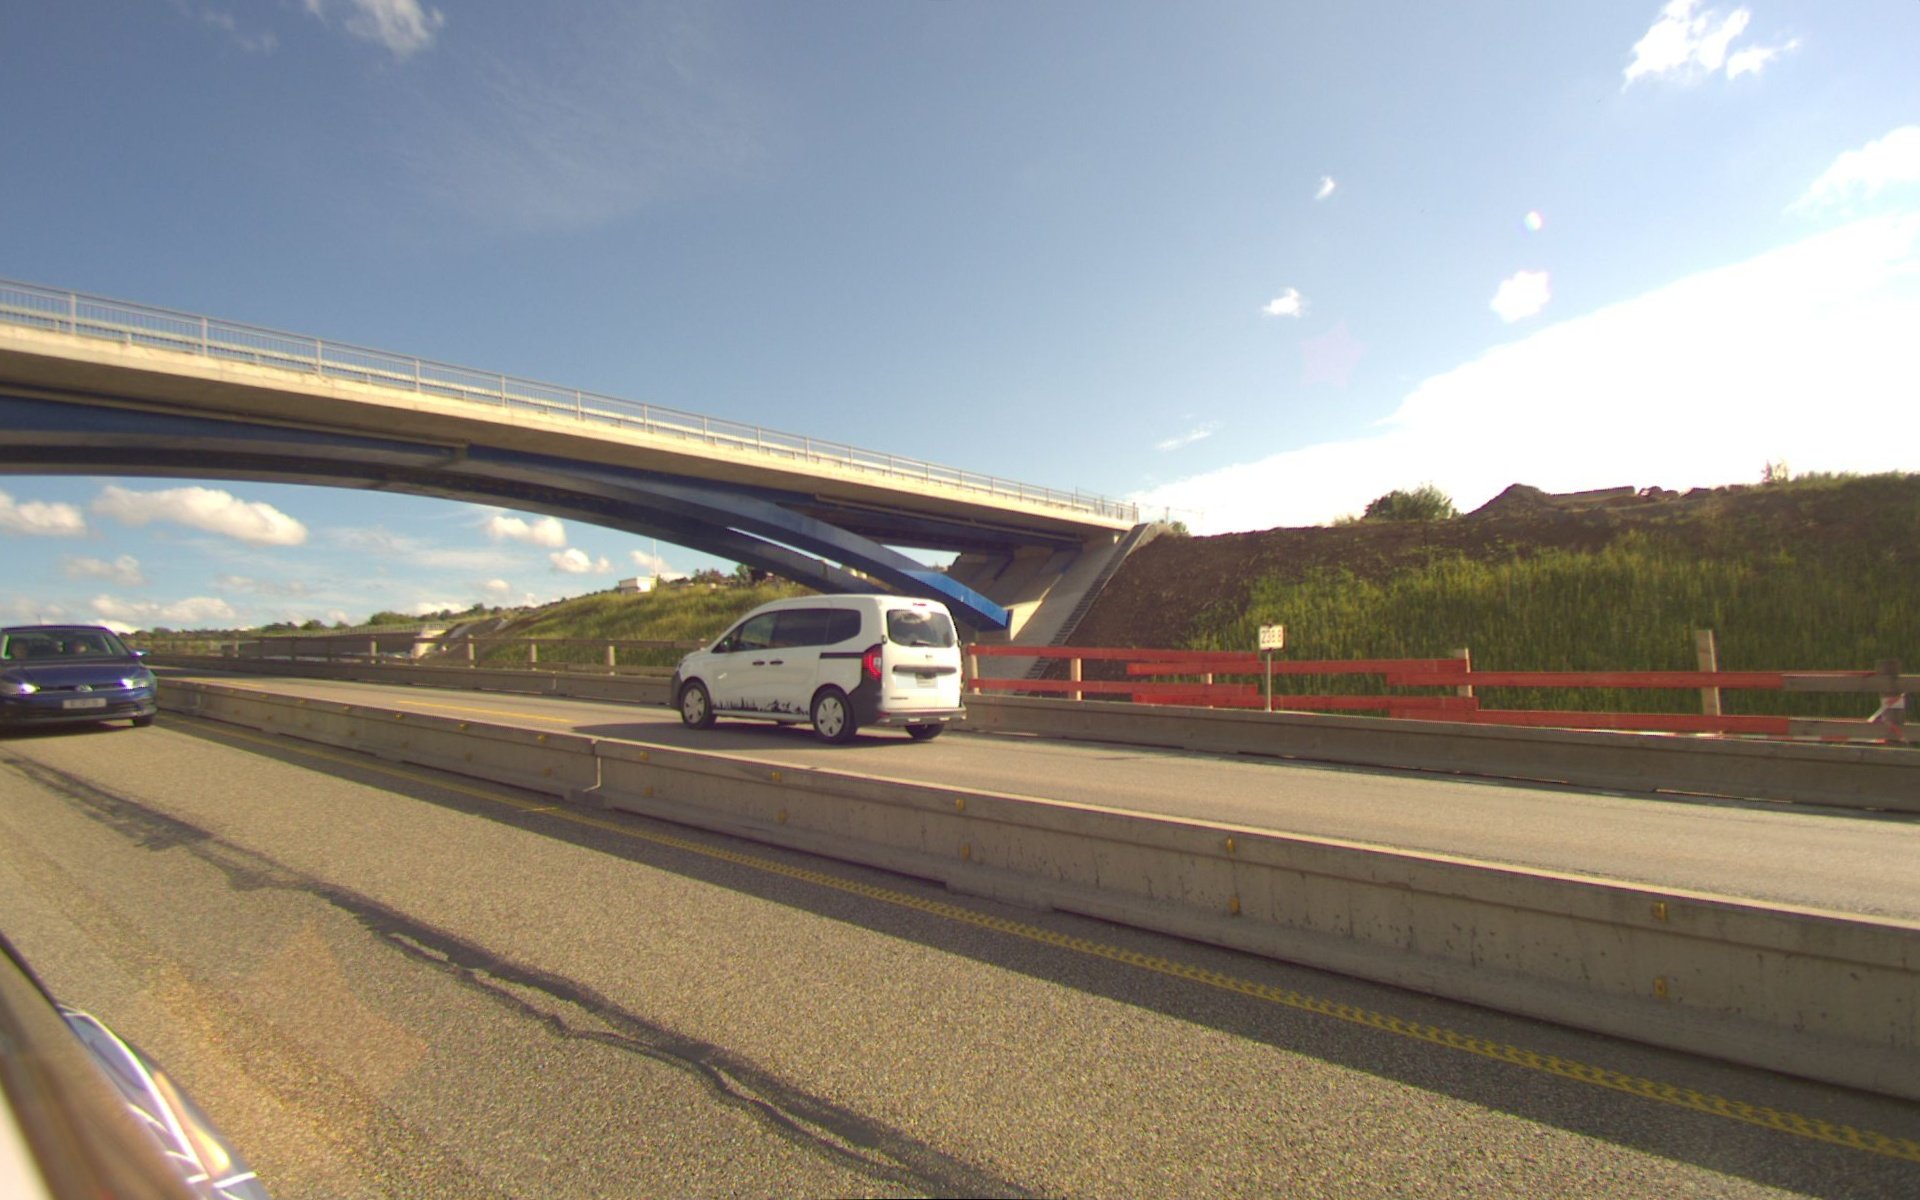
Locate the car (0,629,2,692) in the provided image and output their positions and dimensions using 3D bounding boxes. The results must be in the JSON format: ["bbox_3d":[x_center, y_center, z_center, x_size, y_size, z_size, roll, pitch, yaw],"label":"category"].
[{"bbox_3d":[-25.327,1.497,25.110,4.371,1.507,1.802,-1,-1,40],"label":"car"}]

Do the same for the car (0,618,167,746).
[{"bbox_3d":[-12.674,1.042,14.197,3.997,1.519,1.697,-1,-1,41],"label":"car"}]

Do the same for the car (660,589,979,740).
[{"bbox_3d":[-1.928,0.816,13.177,4.214,1.672,1.716,-2,-4,40],"label":"car"}]
